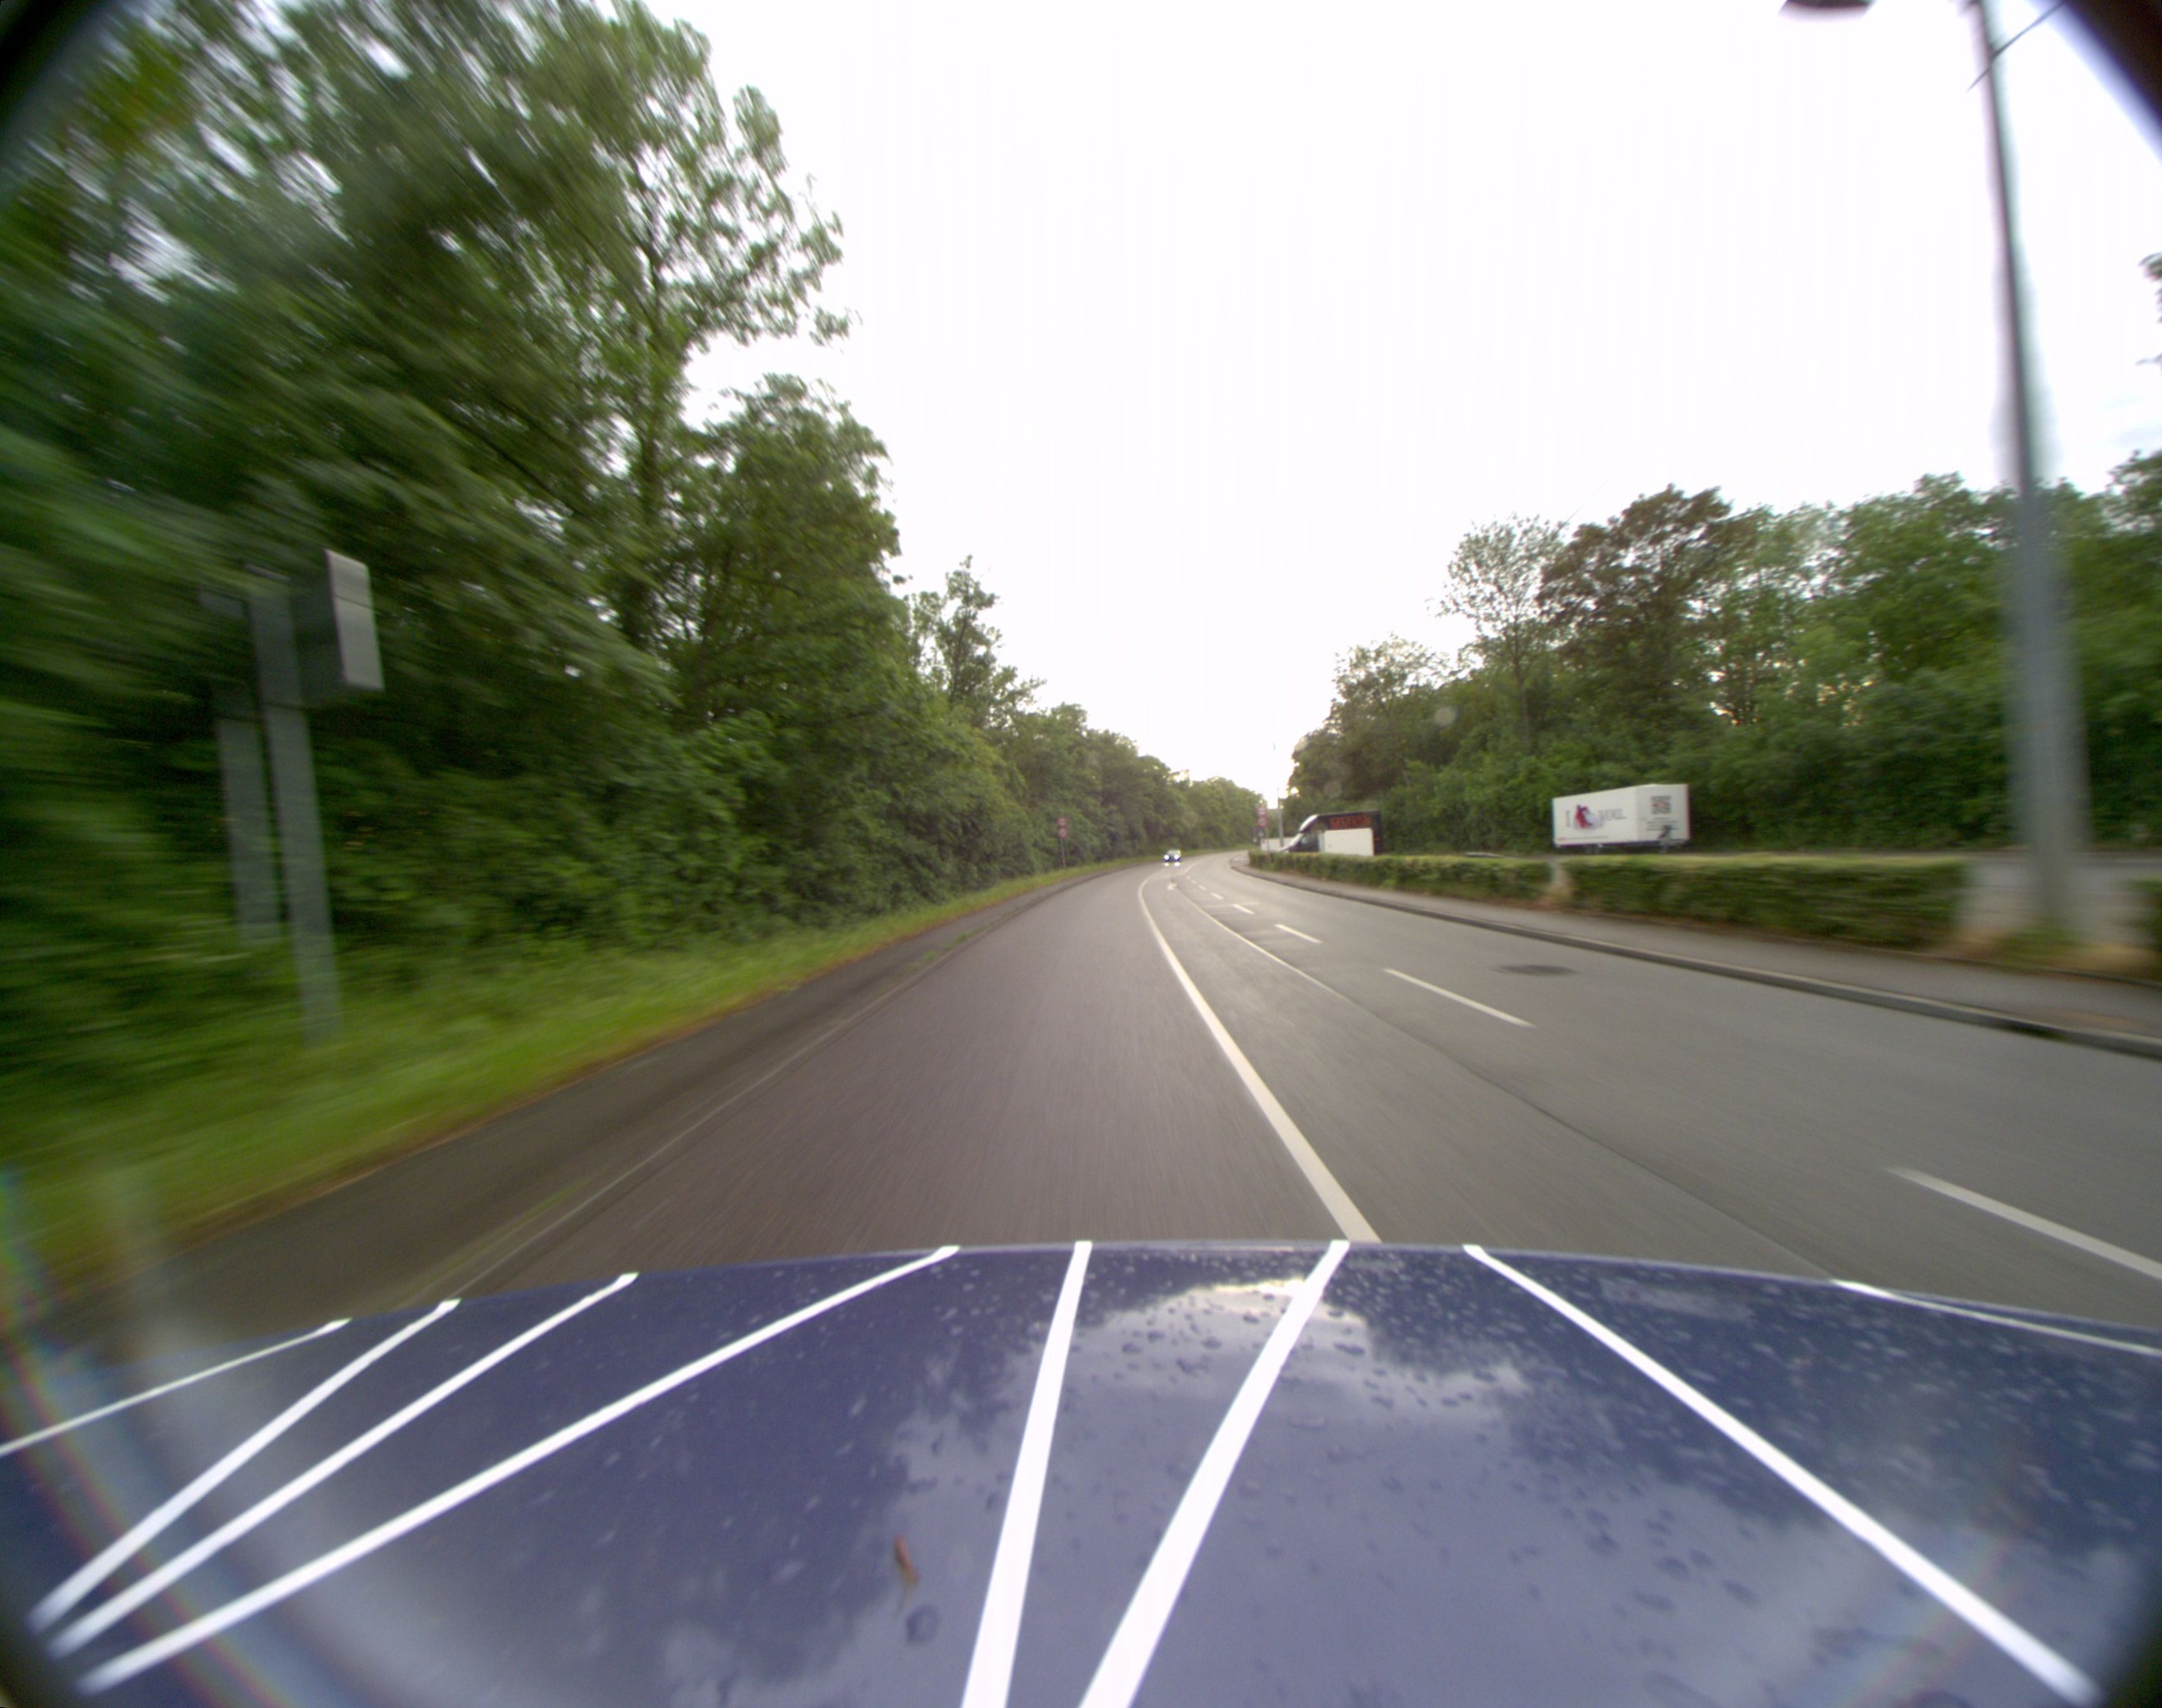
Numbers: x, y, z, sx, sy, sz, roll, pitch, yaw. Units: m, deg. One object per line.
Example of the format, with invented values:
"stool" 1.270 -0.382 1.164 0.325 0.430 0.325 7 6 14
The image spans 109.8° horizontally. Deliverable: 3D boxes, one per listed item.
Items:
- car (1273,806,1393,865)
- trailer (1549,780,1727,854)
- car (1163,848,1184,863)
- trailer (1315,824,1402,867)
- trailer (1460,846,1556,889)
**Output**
"car" 15.242 -1.113 46.324 6.286 3.096 2.752 -3 2 4
"trailer" 24.742 -1.536 34.387 2.481 2.857 7.978 -3 1 3
"car" 11.016 0.177 90.185 1.996 1.674 4.003 -2 1 13
"trailer" 14.891 -0.452 40.902 3.995 2.041 1.873 -3 1 7
"trailer" 11.468 0.343 20.487 1.805 1.028 1.334 -3 1 0
